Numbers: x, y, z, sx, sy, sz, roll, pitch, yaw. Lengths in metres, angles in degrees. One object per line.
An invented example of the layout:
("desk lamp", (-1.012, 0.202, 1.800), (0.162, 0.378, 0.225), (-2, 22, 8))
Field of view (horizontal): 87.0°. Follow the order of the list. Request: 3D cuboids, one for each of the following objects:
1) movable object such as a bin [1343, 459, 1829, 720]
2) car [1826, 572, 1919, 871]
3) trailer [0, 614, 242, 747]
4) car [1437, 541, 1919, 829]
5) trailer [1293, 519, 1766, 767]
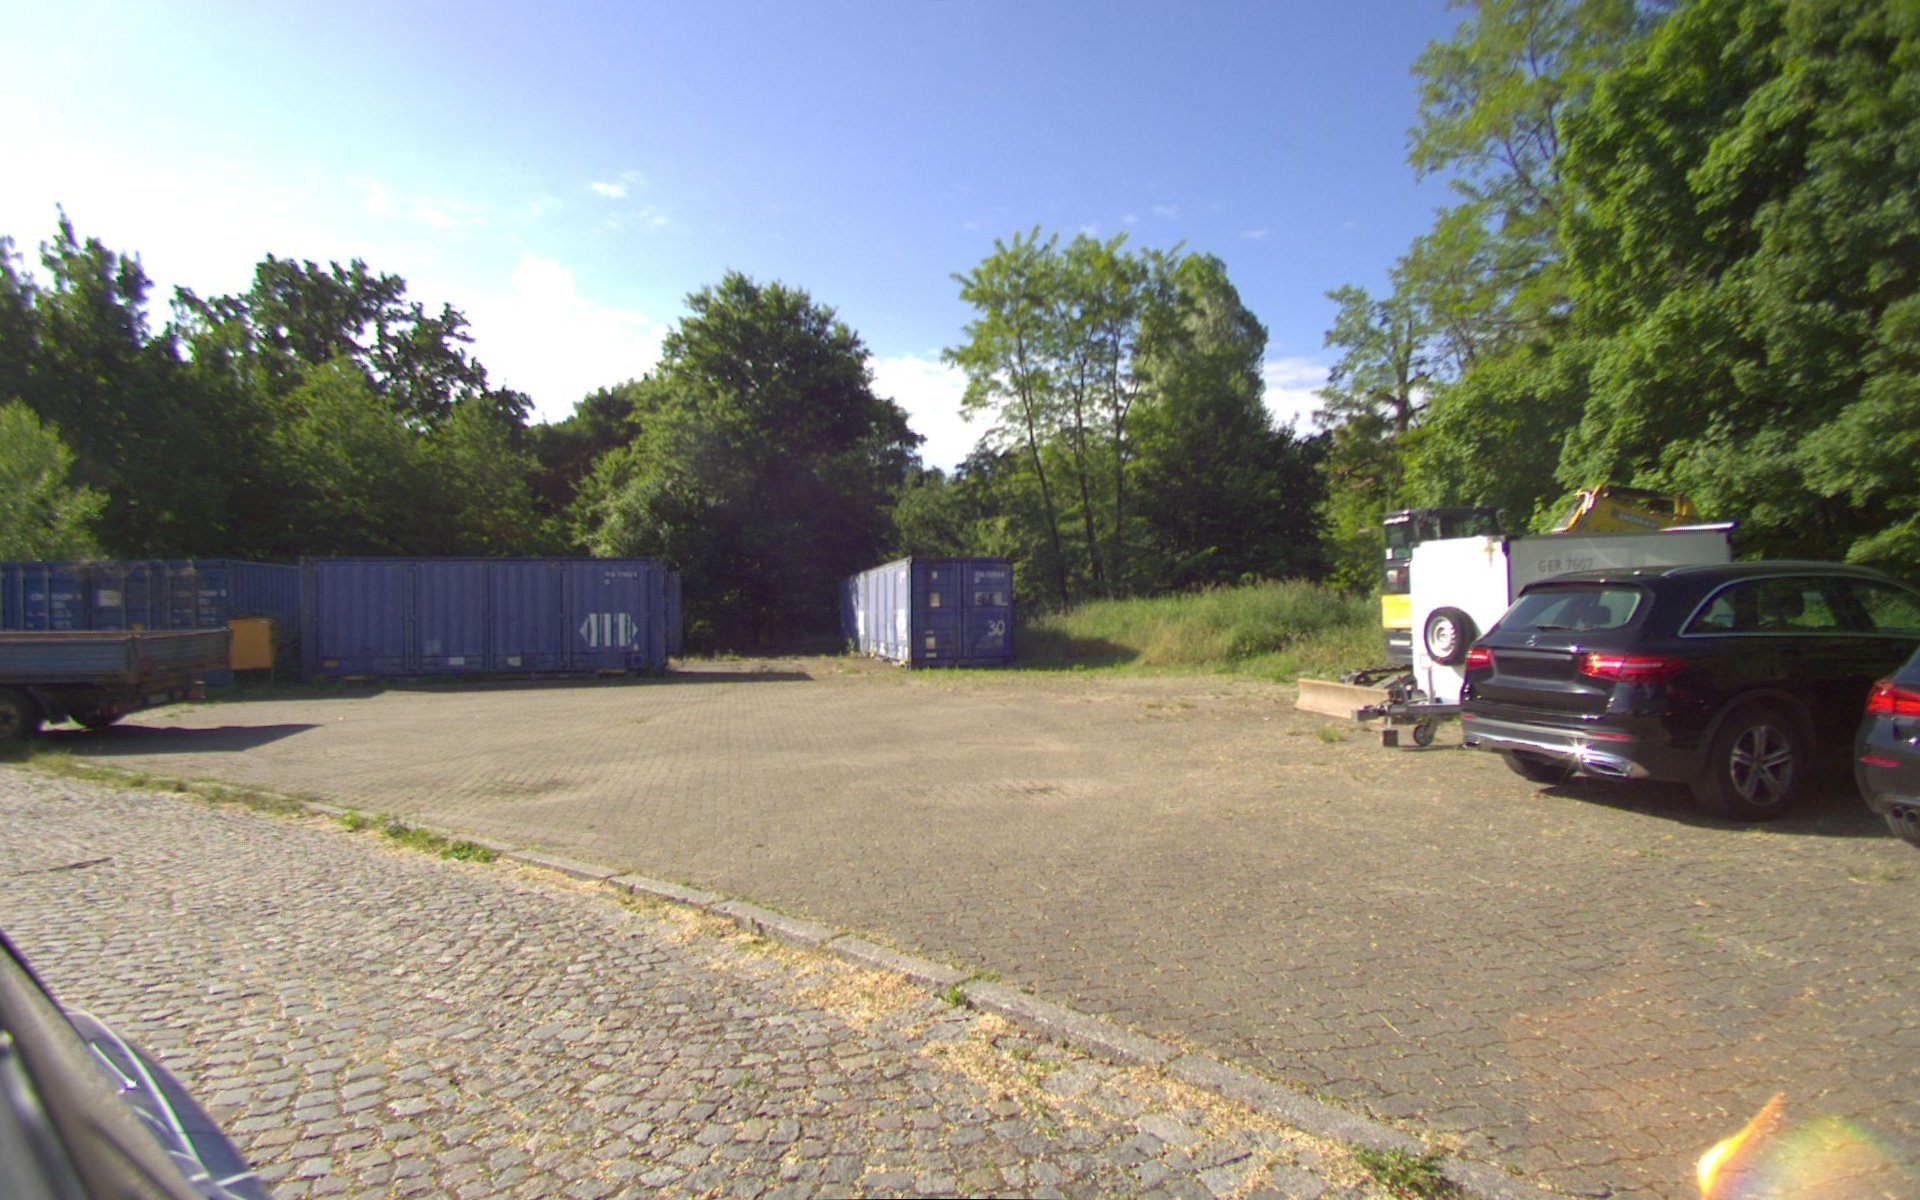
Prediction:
("movable object such as a bin", (7.832, -0.124, 12.917), (5.082, 2.988, 2.004), (-1, -1, -8))
("car", (6.562, 0.553, 4.832), (3.602, 1.462, 1.839), (-1, -1, -13))
("trailer", (-13.587, 1.028, 13.115), (6.385, 1.529, 2.863), (-1, 0, -13))
("car", (5.687, 0.489, 7.131), (3.758, 1.653, 1.872), (-1, -1, -11))
("trailer", (5.594, 0.365, 10.107), (3.907, 2.110, 1.643), (-2, -1, -12))
